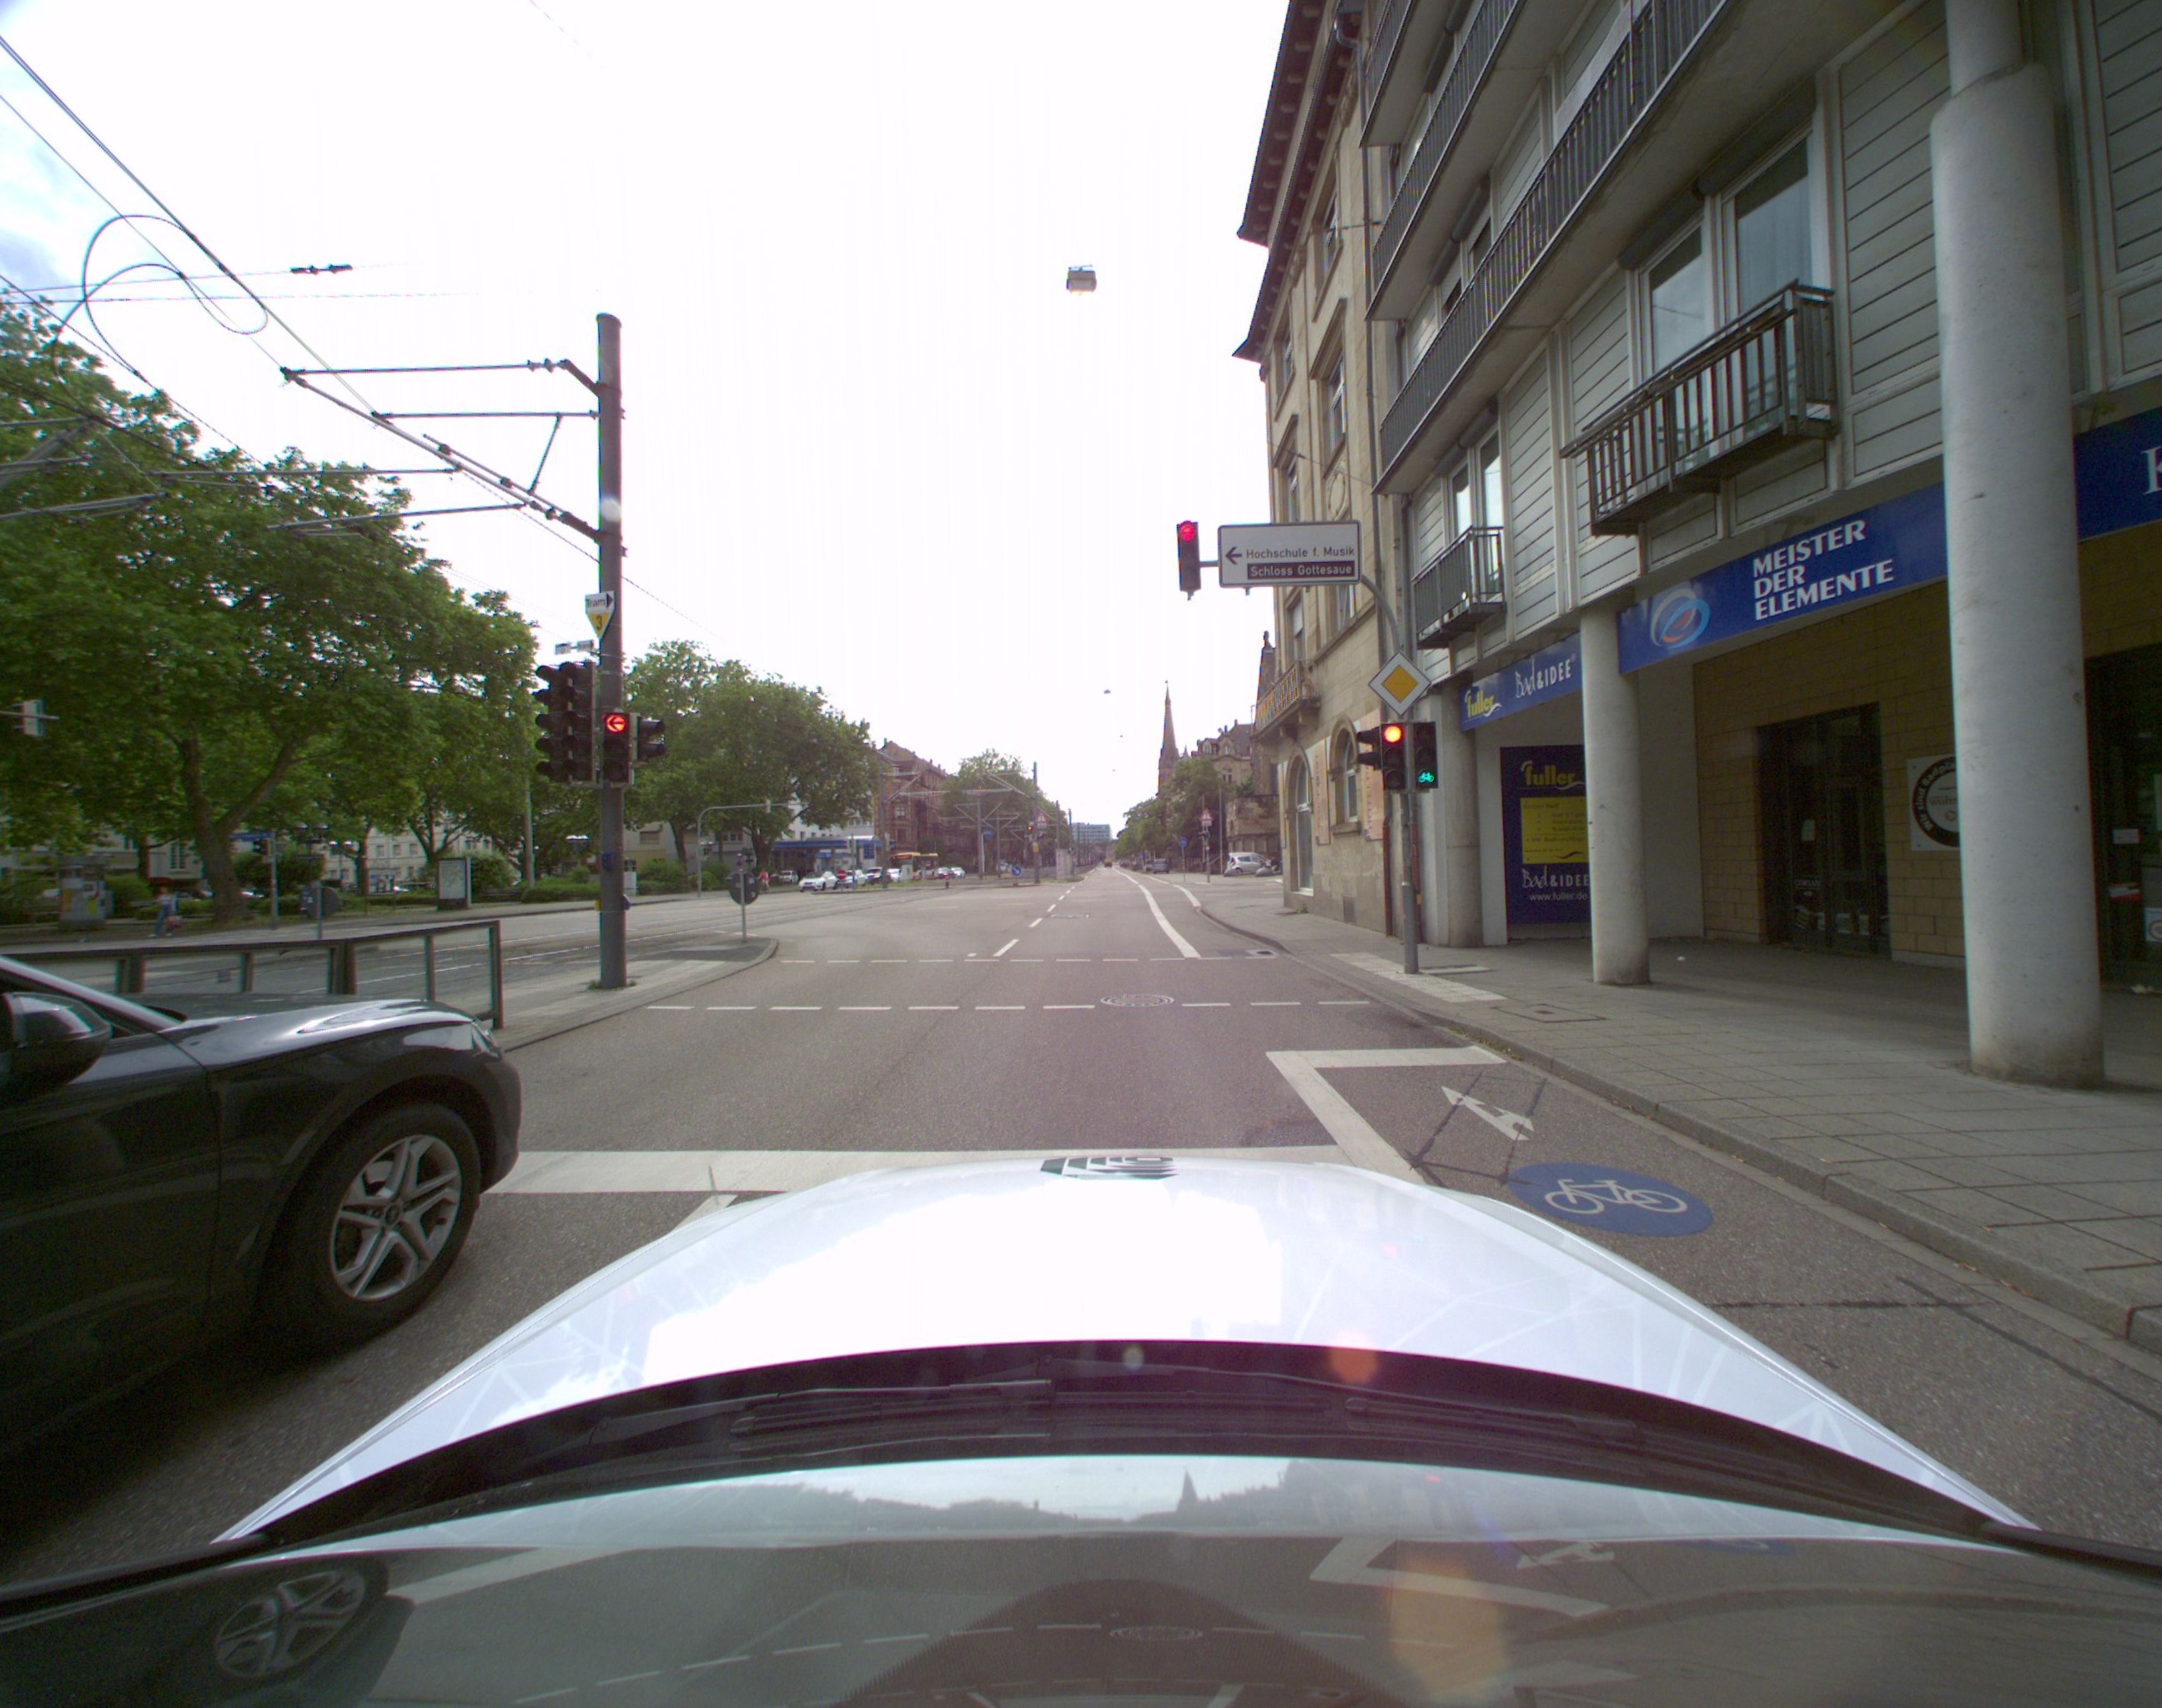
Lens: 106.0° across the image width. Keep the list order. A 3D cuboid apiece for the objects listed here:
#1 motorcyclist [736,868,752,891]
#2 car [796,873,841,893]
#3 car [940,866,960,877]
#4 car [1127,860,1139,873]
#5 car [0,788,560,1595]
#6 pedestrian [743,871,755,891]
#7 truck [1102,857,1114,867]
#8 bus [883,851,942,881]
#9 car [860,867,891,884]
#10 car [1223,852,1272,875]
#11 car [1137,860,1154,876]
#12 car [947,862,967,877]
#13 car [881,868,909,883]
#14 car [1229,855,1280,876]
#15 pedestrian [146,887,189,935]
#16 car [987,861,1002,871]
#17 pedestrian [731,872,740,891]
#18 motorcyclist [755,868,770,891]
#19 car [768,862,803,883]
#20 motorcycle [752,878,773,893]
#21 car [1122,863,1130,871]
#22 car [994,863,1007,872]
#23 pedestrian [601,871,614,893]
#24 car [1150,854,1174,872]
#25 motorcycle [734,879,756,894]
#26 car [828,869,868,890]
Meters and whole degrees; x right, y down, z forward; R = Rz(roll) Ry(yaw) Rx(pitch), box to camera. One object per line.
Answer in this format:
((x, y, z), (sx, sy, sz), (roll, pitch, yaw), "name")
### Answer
((-22.724, 1.736, 54.924), (0.617, 1.520, 0.874), (-1, -1, 2), "motorcyclist")
((-19.165, 2.074, 59.595), (1.739, 1.321, 4.079), (0, 0, 3), "car")
((-16.533, 2.187, 102.836), (1.649, 1.321, 3.641), (0, -1, 3), "car")
((8.689, 2.053, 136.072), (1.986, 2.014, 4.001), (0, -1, 2), "car")
((-3.073, 0.687, 1.244), (1.727, 1.637, 4.228), (0, -1, 2), "car")
((-25.262, 2.079, 62.048), (0.645, 1.479, 0.557), (-2, -1, 1), "pedestrian")
((8.211, 2.305, 246.527), (3.040, 2.769, 9.831), (-2, 0, 6), "truck")
((-18.302, 1.295, 89.733), (3.217, 3.035, 12.323), (0, 0, 4), "bus")
((-18.332, 1.926, 72.734), (1.649, 1.478, 3.641), (0, -1, 3), "car")
((13.924, 0.792, 68.252), (3.699, 1.855, 2.001), (0, -1, 2), "car")
((7.888, 1.698, 99.609), (1.985, 2.014, 4.004), (0, -1, 4), "car")
((-16.751, 2.057, 110.204), (1.986, 2.014, 4.001), (0, -1, 2), "car")
((-18.161, 2.097, 79.656), (1.649, 1.321, 3.641), (0, -1, 3), "car")
((13.746, 0.909, 64.771), (3.699, 1.563, 2.001), (0, -1, 2), "car")
((-30.340, 1.877, 27.051), (0.655, 1.510, 0.680), (-1, -1, -14), "pedestrian")
((-15.054, 2.057, 142.106), (1.986, 1.610, 4.001), (0, -1, 2), "car")
((-26.246, 2.079, 61.843), (0.474, 1.459, 0.426), (-2, -1, 1), "pedestrian")
((-21.711, 1.745, 55.503), (0.617, 1.520, 0.874), (-1, -1, 2), "motorcyclist")
((-29.777, 1.812, 82.169), (1.986, 2.014, 4.001), (-2, 0, 2), "car")
((-21.678, 2.161, 55.510), (0.604, 0.928, 1.953), (-1, -1, 2), "motorcycle")
((11.912, 3.368, 216.802), (1.986, 2.014, 4.001), (0, -1, 2), "car")
((-14.794, 2.439, 149.916), (1.986, 1.610, 4.001), (0, -1, 2), "car")
((-36.999, 2.217, 63.620), (0.596, 1.700, 0.615), (-2, -1, 30), "pedestrian")
((8.971, 0.989, 89.966), (1.979, 1.855, 4.042), (-1, -1, 14), "car")
((-22.724, 2.175, 55.109), (0.604, 0.928, 1.953), (-1, -1, 2), "motorcycle")
((-18.847, 2.053, 66.091), (1.986, 1.594, 4.001), (0, -1, 2), "car")
